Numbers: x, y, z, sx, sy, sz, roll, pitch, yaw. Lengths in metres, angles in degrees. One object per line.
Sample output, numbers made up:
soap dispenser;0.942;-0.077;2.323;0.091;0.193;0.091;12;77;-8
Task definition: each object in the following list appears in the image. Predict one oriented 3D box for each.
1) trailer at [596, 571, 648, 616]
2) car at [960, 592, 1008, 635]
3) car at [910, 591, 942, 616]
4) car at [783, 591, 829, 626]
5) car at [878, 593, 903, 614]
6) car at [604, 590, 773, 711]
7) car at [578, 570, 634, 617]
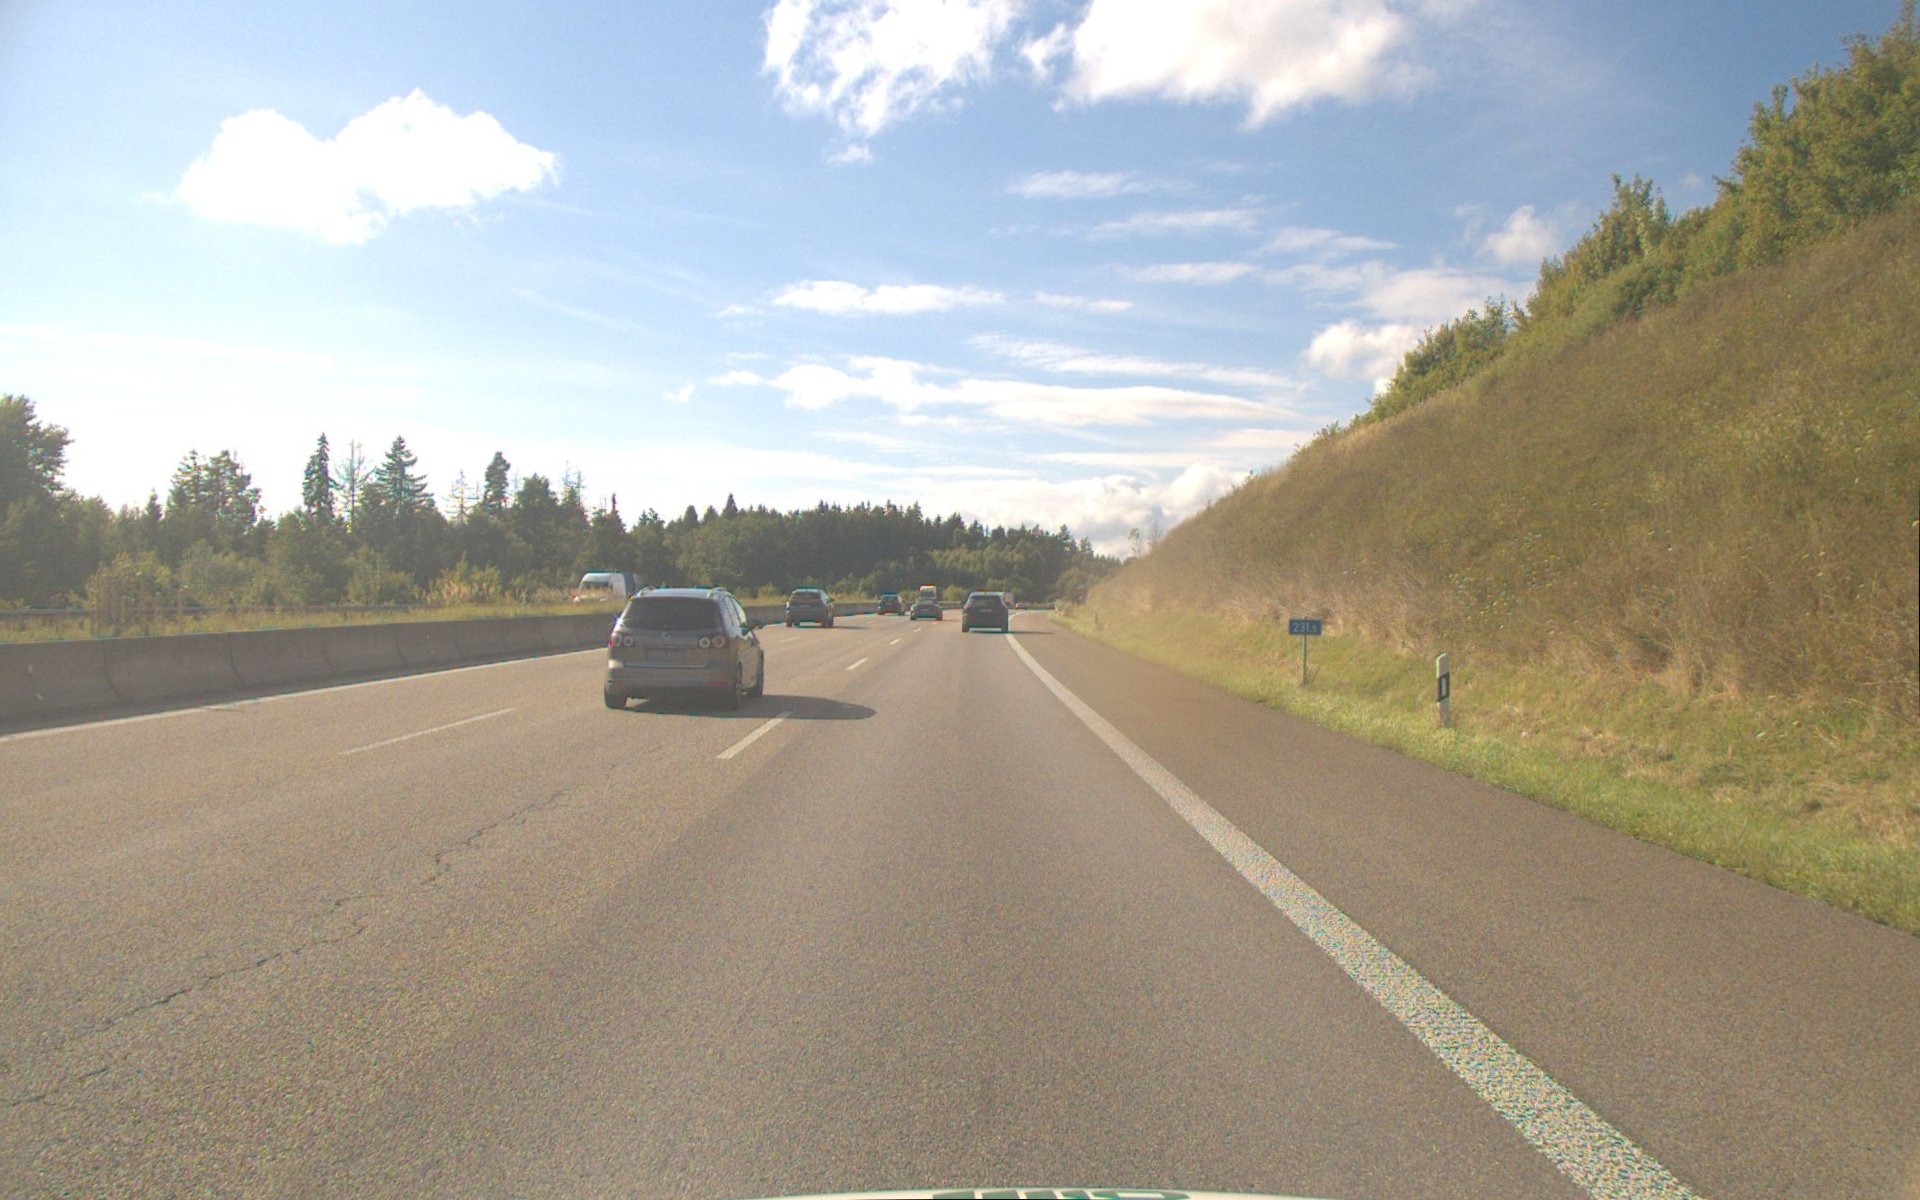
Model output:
trailer;-21.611;-0.414;105.832;2.223;2.730;5.562;1;0;-1
car;0.964;0.537;68.431;1.836;1.704;3.889;0;0;-1
car;-2.056;0.202;100.297;1.835;1.523;3.880;0;0;0
car;-6.878;0.379;74.014;1.836;1.523;3.878;0;0;-2
car;-5.191;0.282;123.673;1.836;1.523;3.878;0;0;-2
car;-3.666;0.642;22.952;1.836;1.523;3.878;0;0;-2
car;-21.561;-0.391;101.019;2.223;2.730;5.888;1;0;-1
